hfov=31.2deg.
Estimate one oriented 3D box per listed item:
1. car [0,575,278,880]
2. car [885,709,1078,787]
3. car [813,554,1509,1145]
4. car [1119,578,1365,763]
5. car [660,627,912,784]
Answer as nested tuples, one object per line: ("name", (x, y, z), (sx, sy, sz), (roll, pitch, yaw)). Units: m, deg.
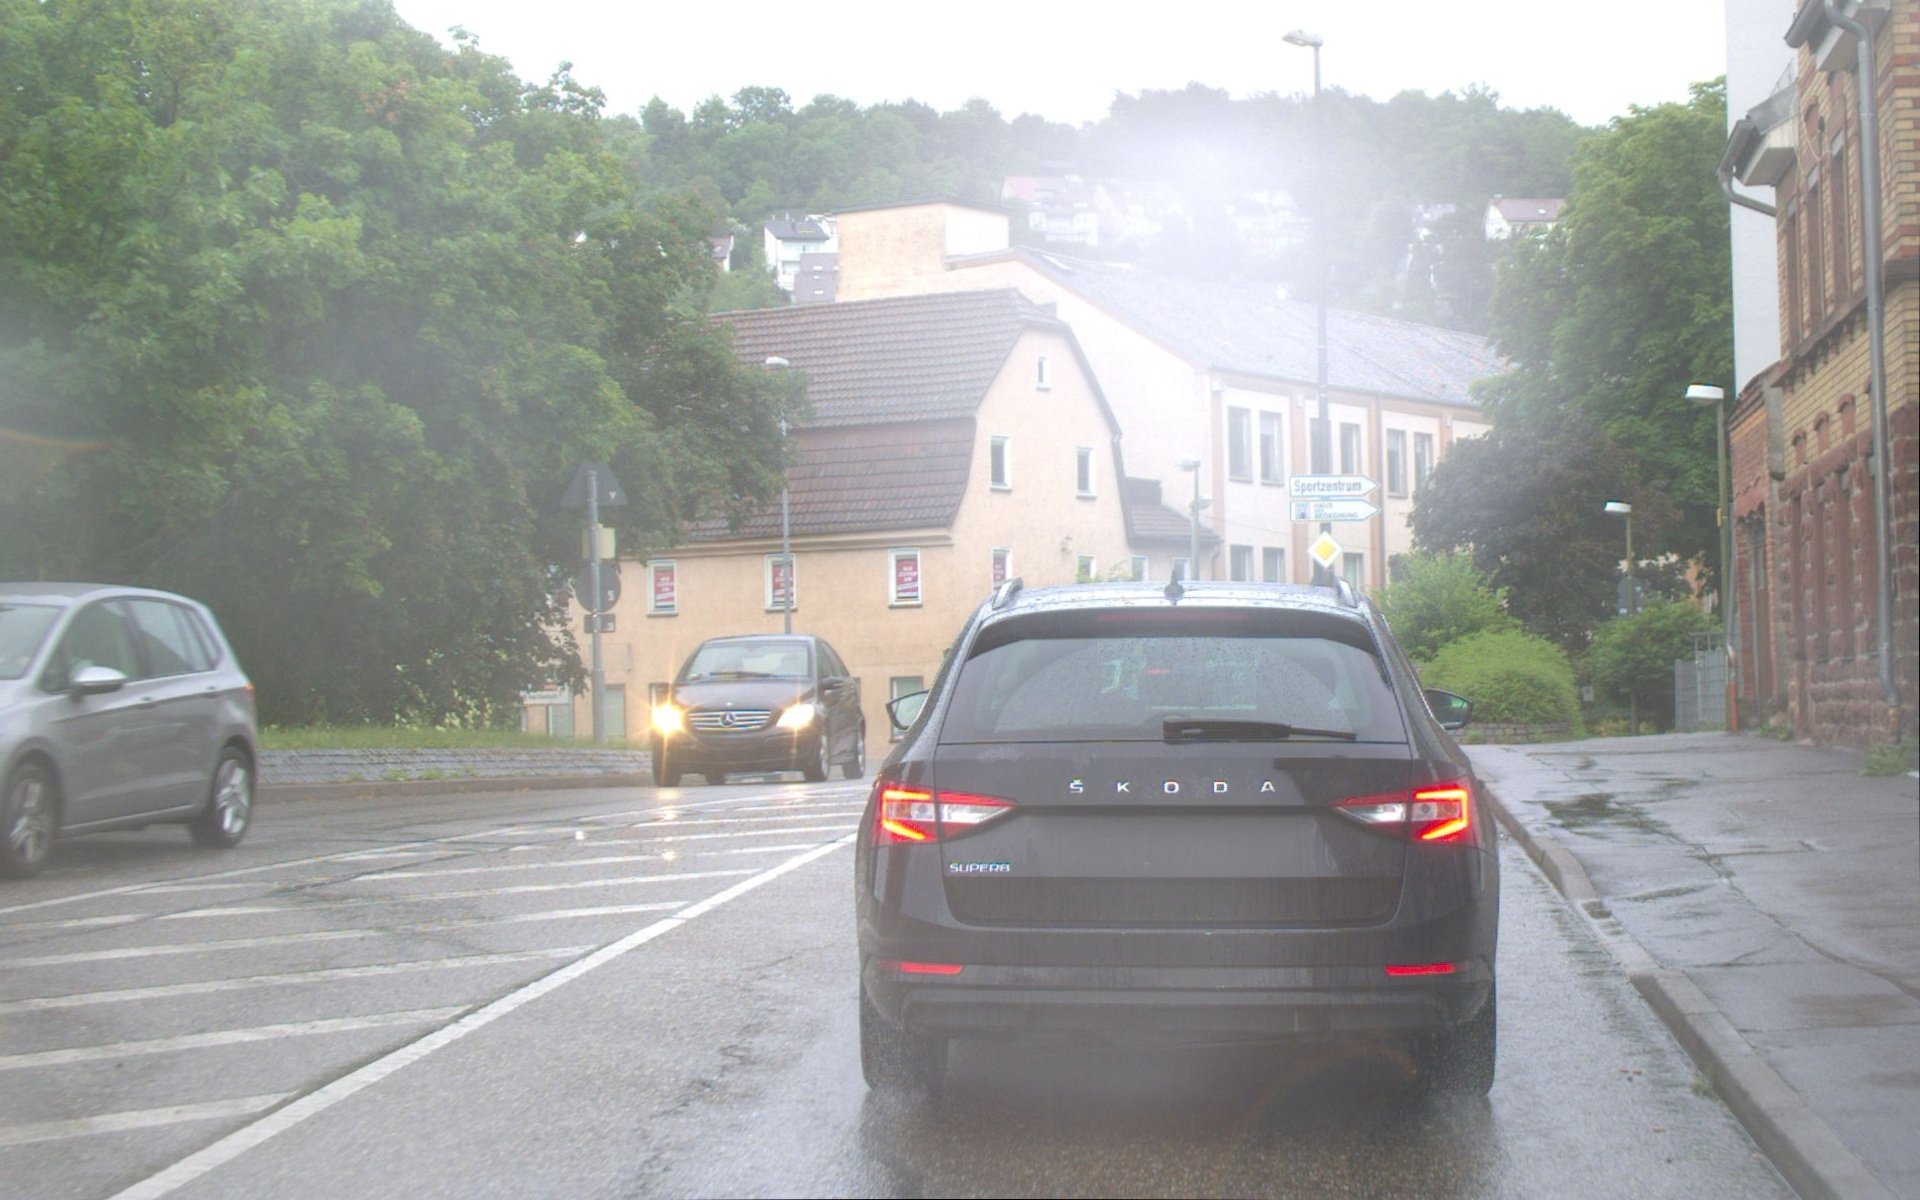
("car", (-5.376, 0.657, 19.142), (1.644, 1.547, 4.153), (-1, 0, 11))
("car", (0.466, 3.221, 74.795), (3.750, 1.448, 1.712), (-3, -2, -20))
("car", (0.655, 0.613, 11.008), (1.782, 1.478, 4.245), (1, 1, 4))
("car", (2.324, 0.599, 28.082), (1.818, 1.355, 3.988), (-2, -2, 5))
("car", (-1.769, 1.068, 36.251), (1.641, 1.516, 4.068), (-1, 0, 12))
